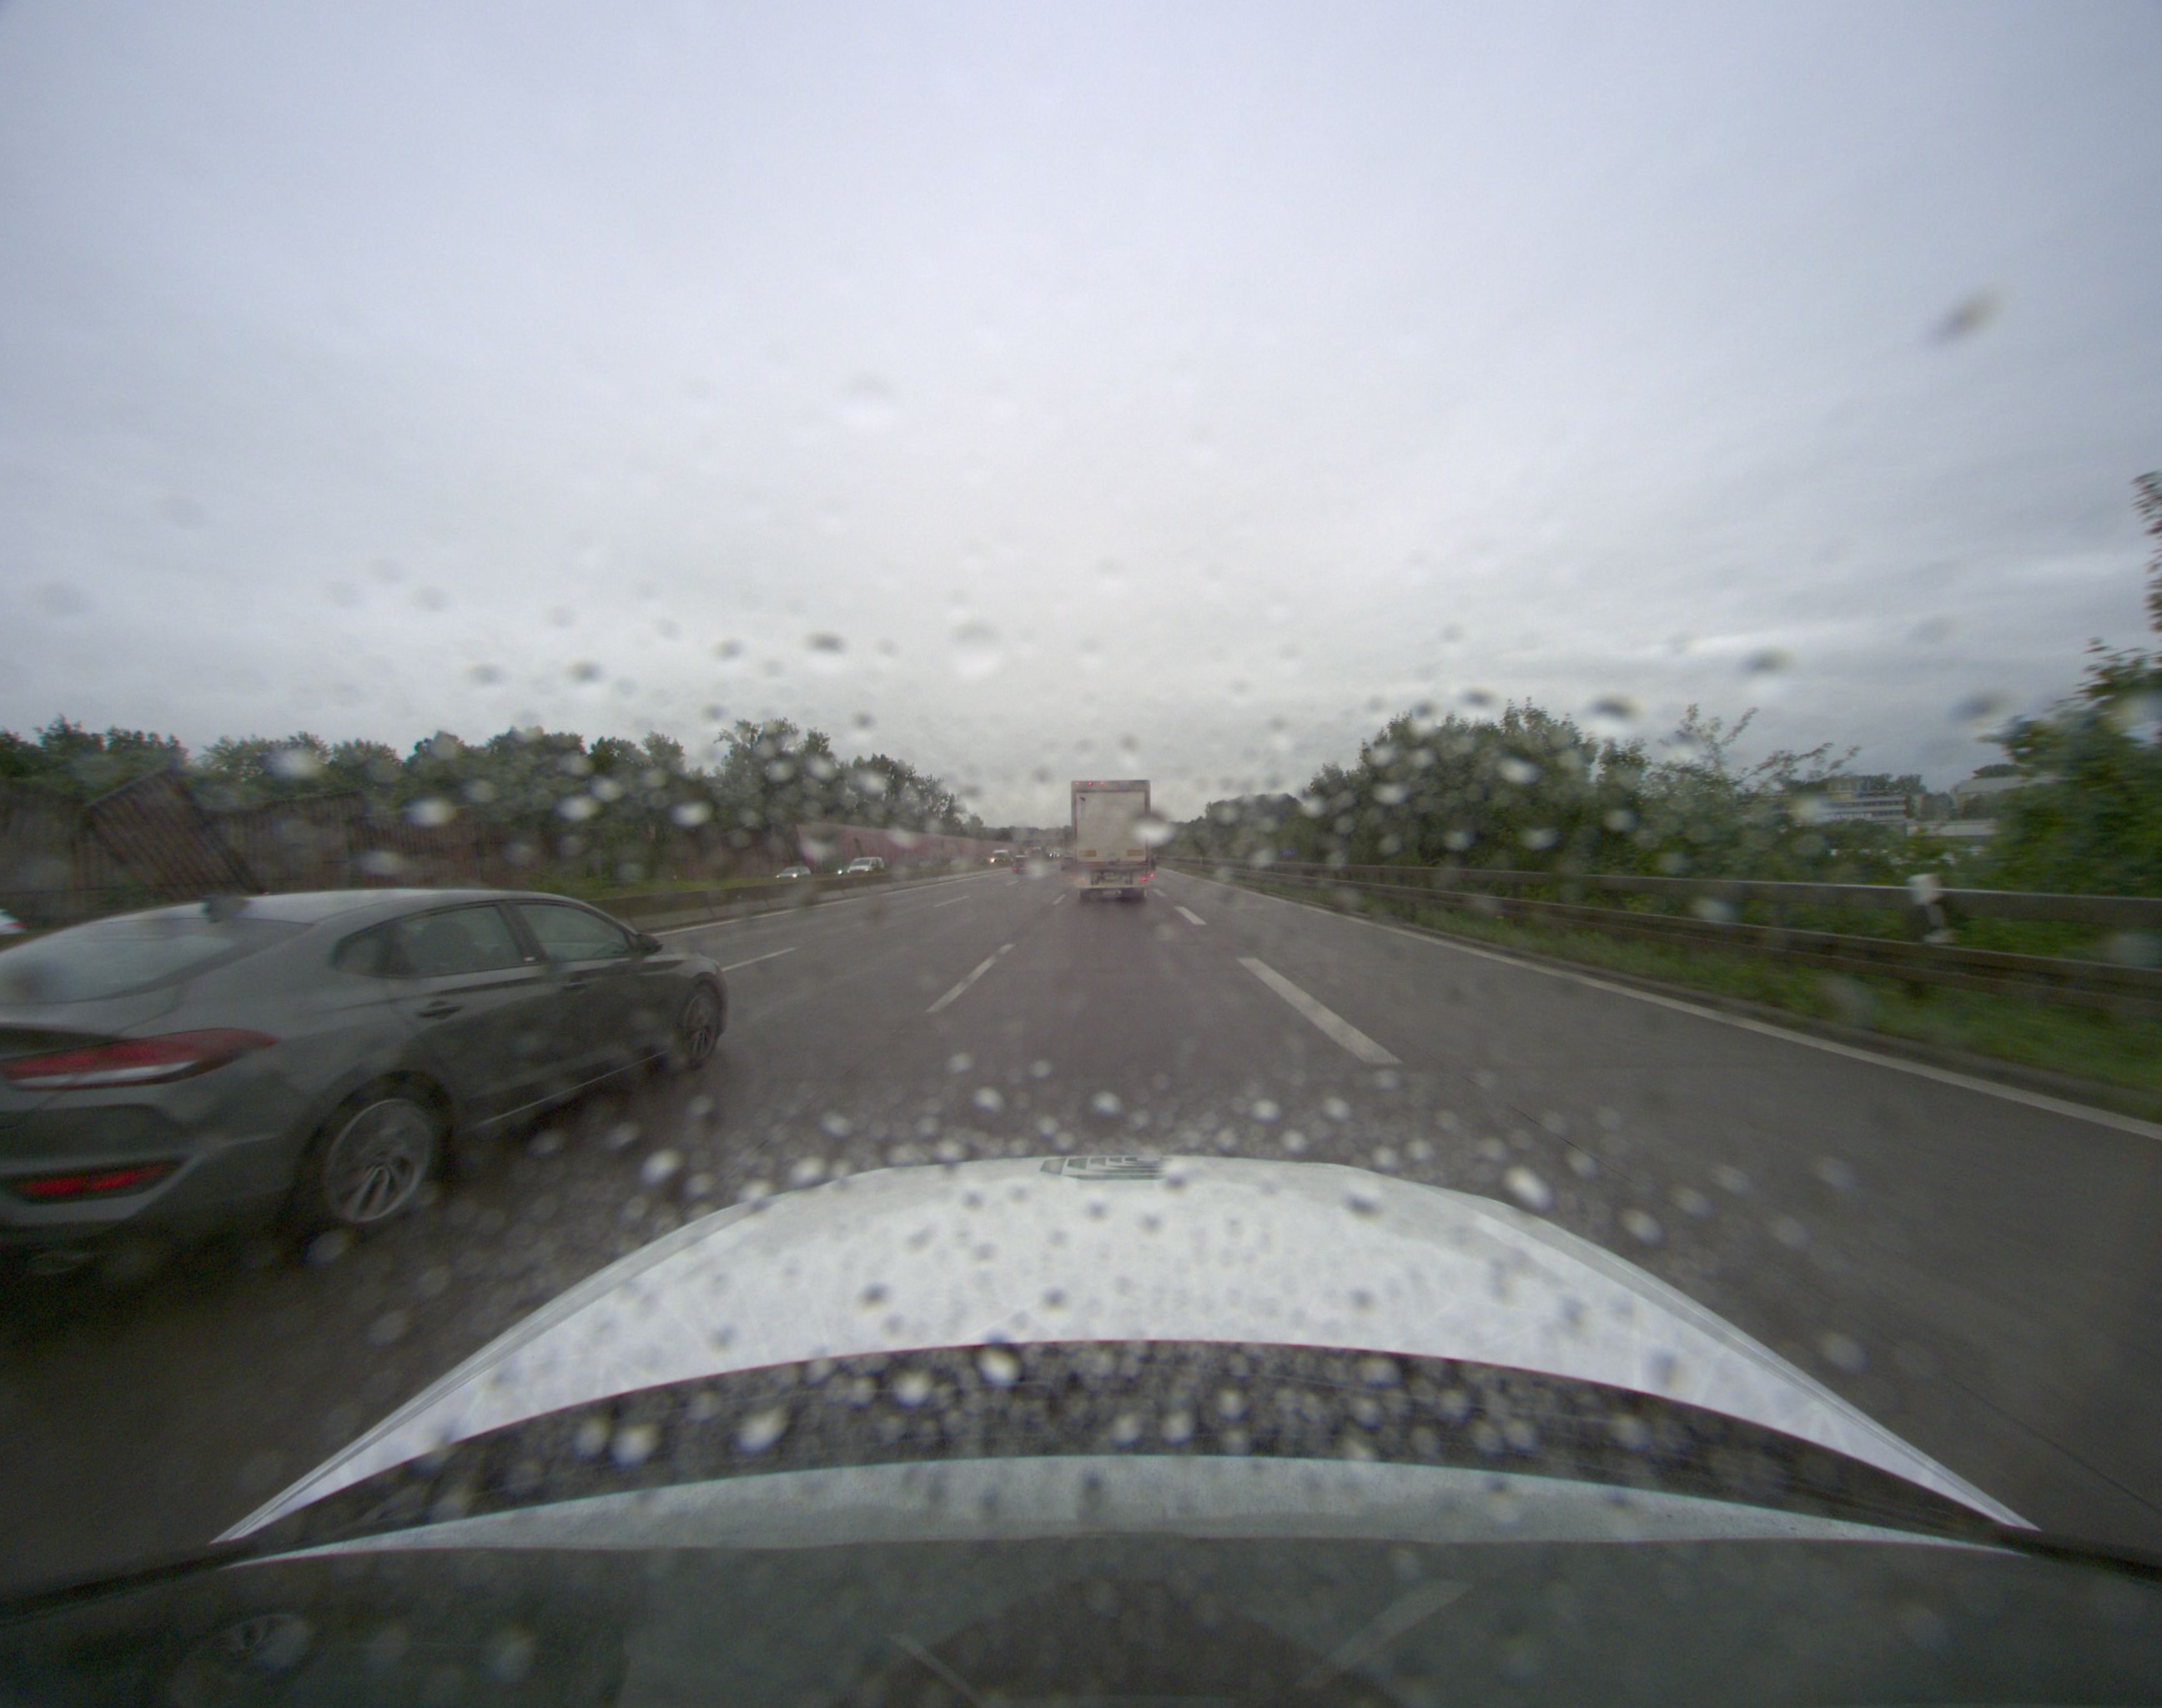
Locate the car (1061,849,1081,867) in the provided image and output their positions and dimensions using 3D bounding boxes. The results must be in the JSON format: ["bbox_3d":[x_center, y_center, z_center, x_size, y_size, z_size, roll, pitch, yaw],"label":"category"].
[{"bbox_3d":[-0.987,0.416,81.550,1.887,1.723,4.002,0,0,2],"label":"car"}]

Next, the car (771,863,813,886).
[{"bbox_3d":[-24.588,1.742,69.481,1.986,1.784,4.291,-1,0,1],"label":"car"}]

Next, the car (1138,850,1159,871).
[{"bbox_3d":[6.446,0.588,78.102,1.889,1.949,4.003,0,0,3],"label":"car"}]

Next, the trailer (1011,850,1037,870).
[{"bbox_3d":[-4.980,0.529,71.938,1.808,1.624,4.570,-1,0,2],"label":"trailer"}]

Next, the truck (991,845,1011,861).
[{"bbox_3d":[-11.740,-0.154,120.203,2.136,2.205,5.422,-1,0,2],"label":"truck"}]

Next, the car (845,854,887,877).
[{"bbox_3d":[-17.599,0.922,66.915,1.986,1.784,5.211,-1,0,1],"label":"car"}]

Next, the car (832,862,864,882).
[{"bbox_3d":[-24.528,1.848,85.783,1.985,2.013,4.003,-1,0,2],"label":"car"}]

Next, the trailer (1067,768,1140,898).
[{"bbox_3d":[0.979,-0.614,33.634,2.333,4.157,14.832,0,-1,2],"label":"trailer"}]

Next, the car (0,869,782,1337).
[{"bbox_3d":[-3.666,0.853,5.040,1.719,1.403,4.830,-1,0,2],"label":"car"}]

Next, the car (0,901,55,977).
[{"bbox_3d":[-26.444,2.048,17.933,1.985,1.739,4.400,-1,0,2],"label":"car"}]
